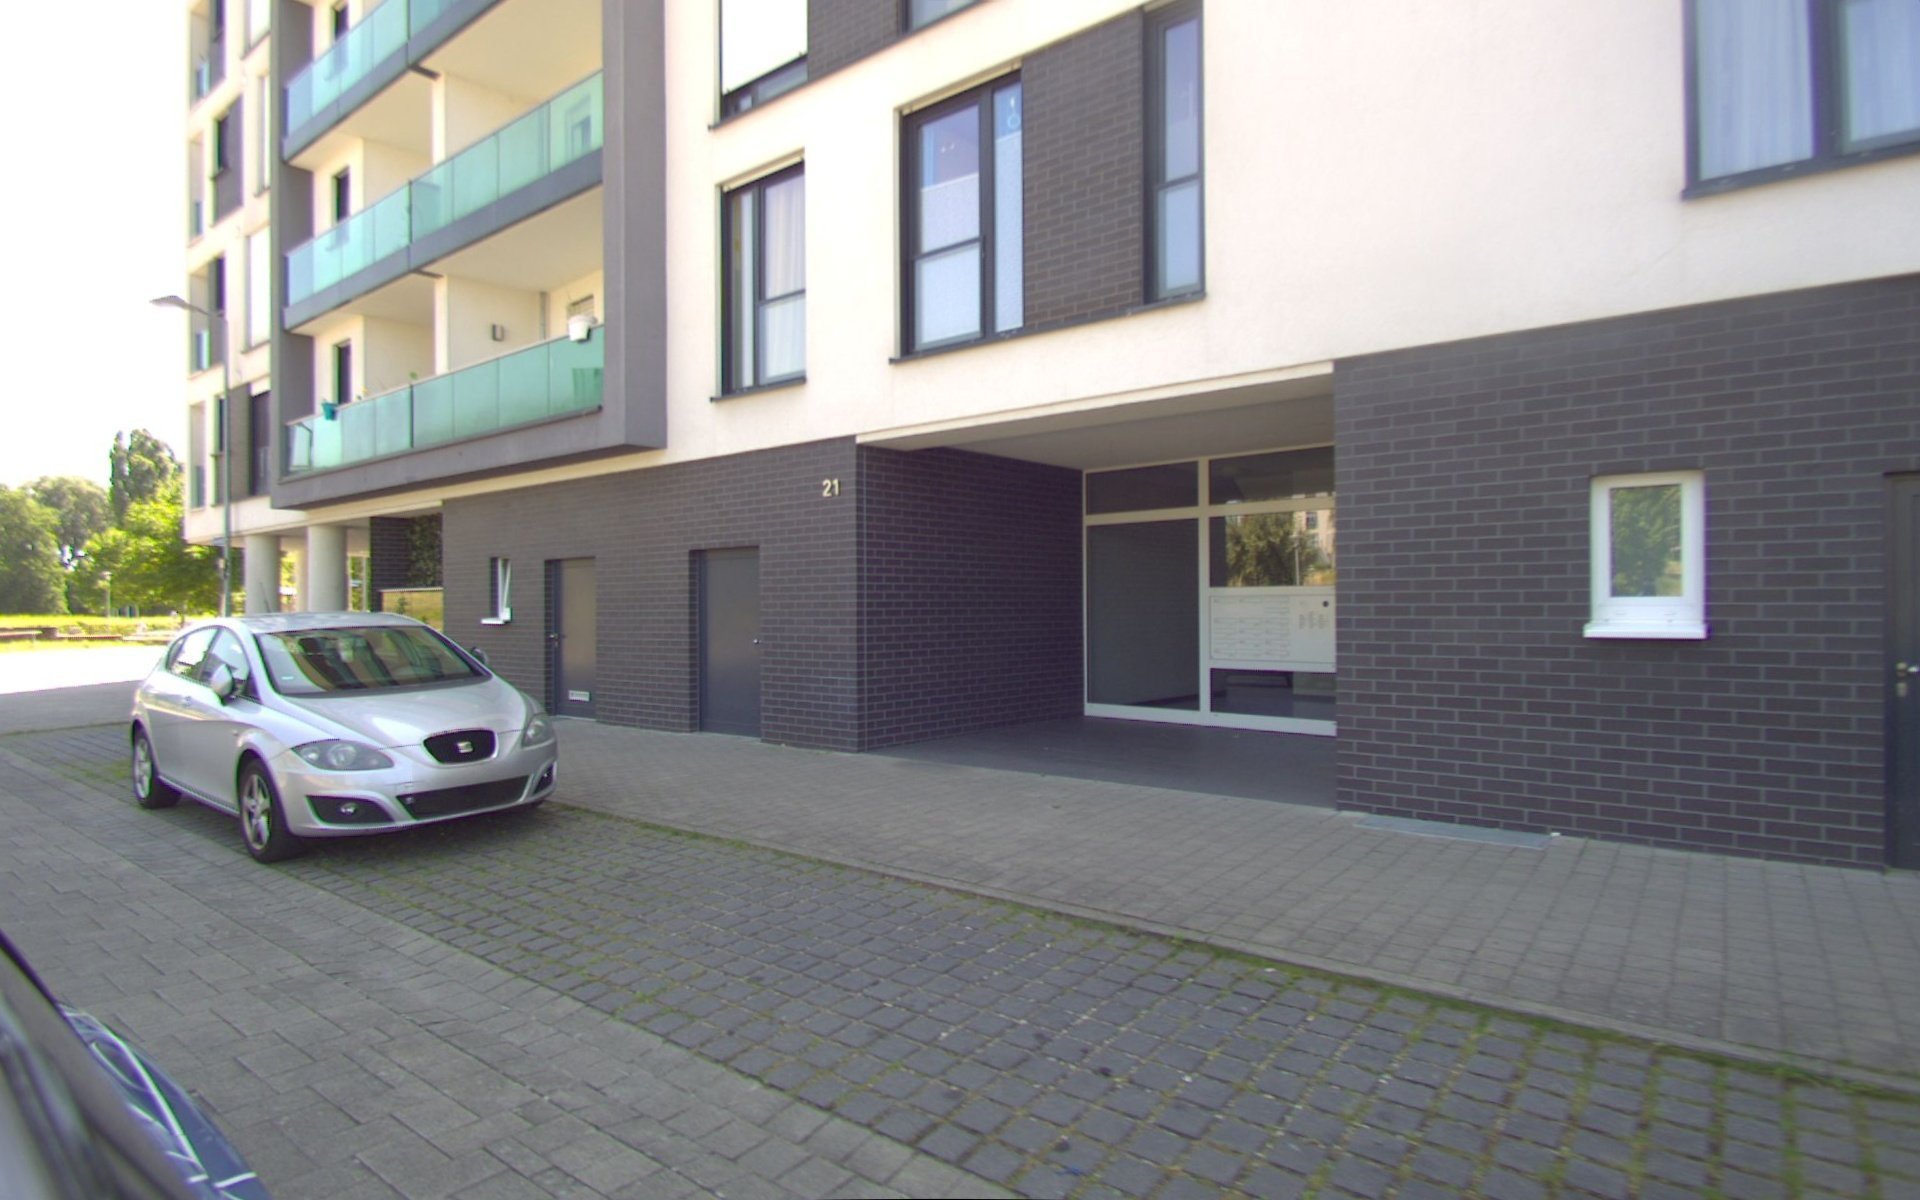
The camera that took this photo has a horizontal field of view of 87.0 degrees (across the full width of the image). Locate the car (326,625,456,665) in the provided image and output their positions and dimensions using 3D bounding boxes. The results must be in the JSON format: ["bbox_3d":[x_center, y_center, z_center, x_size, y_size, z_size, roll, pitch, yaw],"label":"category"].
[{"bbox_3d":[-20.518,1.599,36.670,1.764,1.280,3.976,-1,0,18],"label":"car"}]

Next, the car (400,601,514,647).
[{"bbox_3d":[-20.869,0.962,42.168,2.068,1.796,3.976,-1,0,18],"label":"car"}]

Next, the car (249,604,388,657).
[{"bbox_3d":[-23.307,1.068,36.943,1.984,1.796,3.976,-1,0,18],"label":"car"}]

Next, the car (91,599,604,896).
[{"bbox_3d":[-4.557,0.806,7.305,4.108,1.516,1.766,-1,1,37],"label":"car"}]
